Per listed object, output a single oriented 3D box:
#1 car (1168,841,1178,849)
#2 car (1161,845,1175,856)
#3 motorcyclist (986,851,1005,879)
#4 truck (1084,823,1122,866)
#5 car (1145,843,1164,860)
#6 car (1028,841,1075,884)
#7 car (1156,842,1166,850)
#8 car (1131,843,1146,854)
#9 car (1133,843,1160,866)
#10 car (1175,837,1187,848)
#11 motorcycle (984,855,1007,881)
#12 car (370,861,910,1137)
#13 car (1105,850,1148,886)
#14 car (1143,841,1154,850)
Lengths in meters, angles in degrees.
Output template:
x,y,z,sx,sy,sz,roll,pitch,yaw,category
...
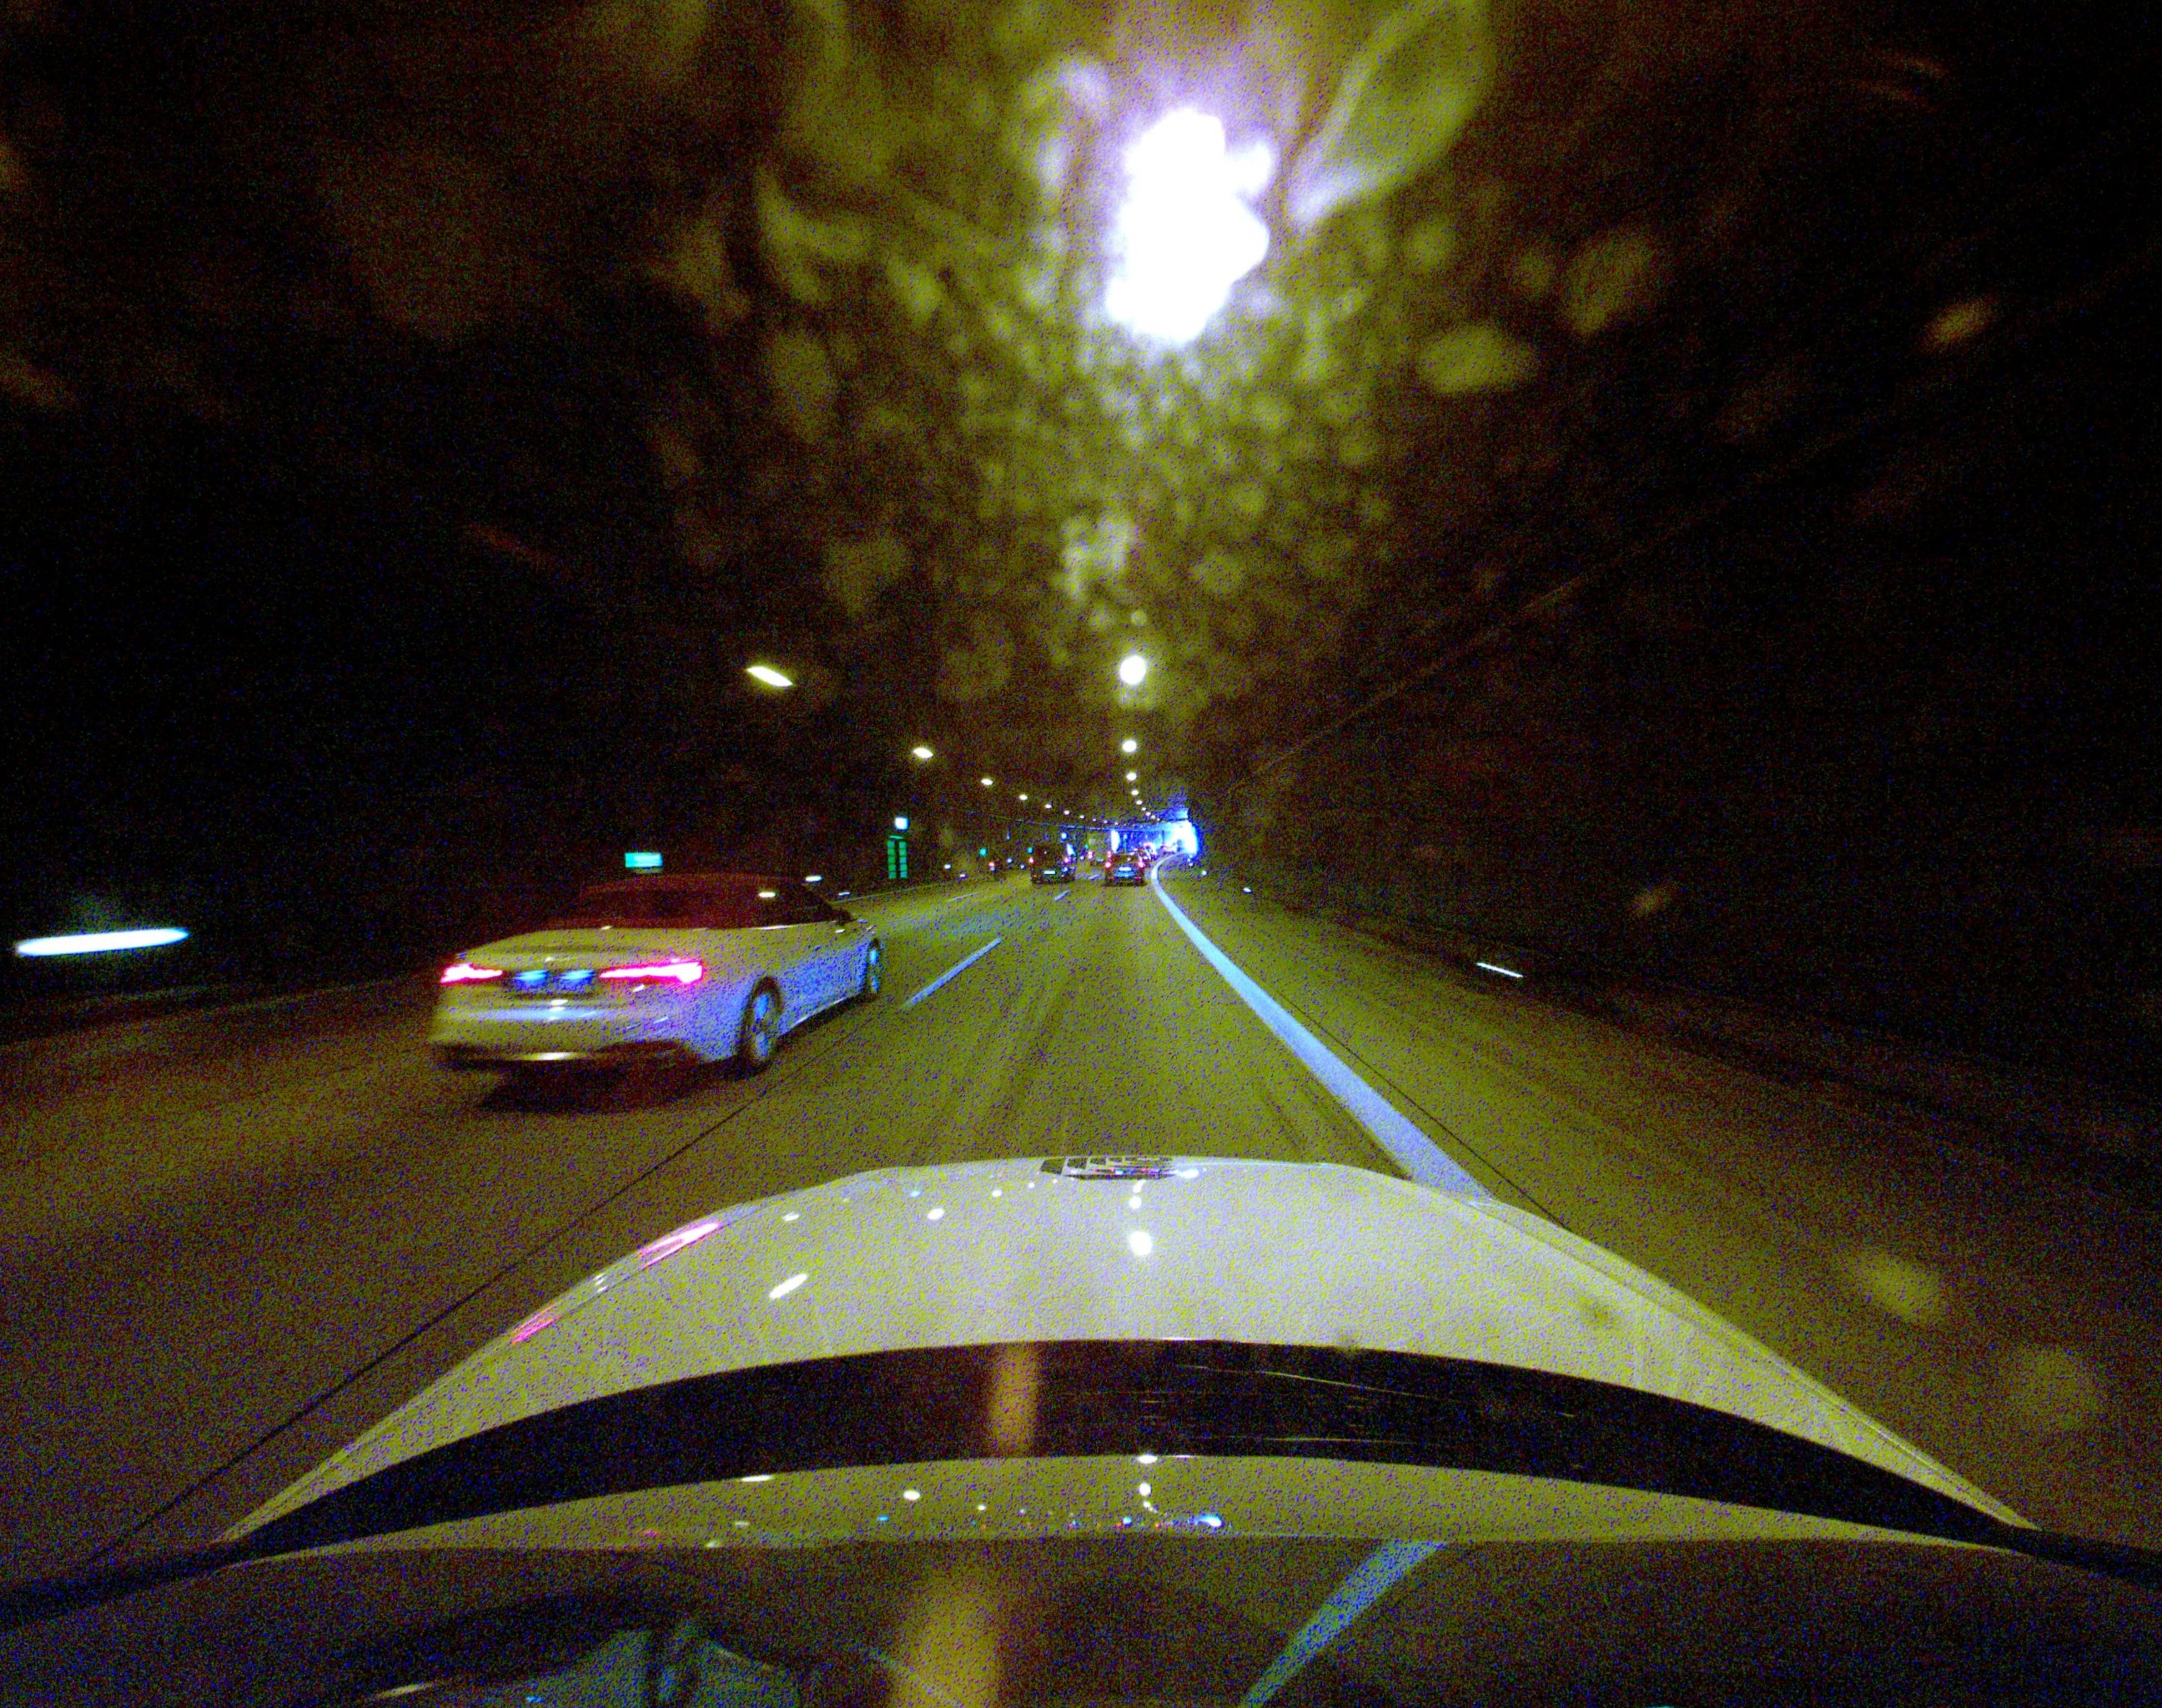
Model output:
x,y,z,sx,sy,sz,roll,pitch,yaw,category
19.787,-1.918,174.994,1.983,1.632,4.007,-1,-2,7,car
14.016,-0.568,131.739,1.923,1.643,4.001,-1,-2,2,car
-4.569,0.601,43.563,0.773,1.453,1.071,-1,-2,7,motorcyclist
2.105,-0.859,76.211,3.025,3.673,7.402,-1,0,5,truck
8.321,-0.220,92.515,1.942,1.772,4.003,-1,-2,3,car
-1.394,0.388,40.053,1.902,1.944,3.874,-2,1,2,car
18.661,-1.802,189.984,1.918,1.643,4.012,-2,-2,11,car
8.919,-0.864,126.179,1.982,1.632,4.009,-1,-1,8,car
5.442,0.031,67.406,1.846,1.854,4.011,-2,0,10,car
19.430,-2.181,158.637,1.985,2.014,4.004,-1,-2,4,car
-4.574,0.750,43.578,0.679,1.297,2.403,-2,-1,6,motorcycle
-2.979,0.830,7.035,1.695,1.419,5.063,-2,0,2,car
2.137,0.597,37.325,1.733,1.464,3.878,-2,1,6,car
14.006,-1.764,167.890,1.919,1.642,4.009,-2,0,8,car
